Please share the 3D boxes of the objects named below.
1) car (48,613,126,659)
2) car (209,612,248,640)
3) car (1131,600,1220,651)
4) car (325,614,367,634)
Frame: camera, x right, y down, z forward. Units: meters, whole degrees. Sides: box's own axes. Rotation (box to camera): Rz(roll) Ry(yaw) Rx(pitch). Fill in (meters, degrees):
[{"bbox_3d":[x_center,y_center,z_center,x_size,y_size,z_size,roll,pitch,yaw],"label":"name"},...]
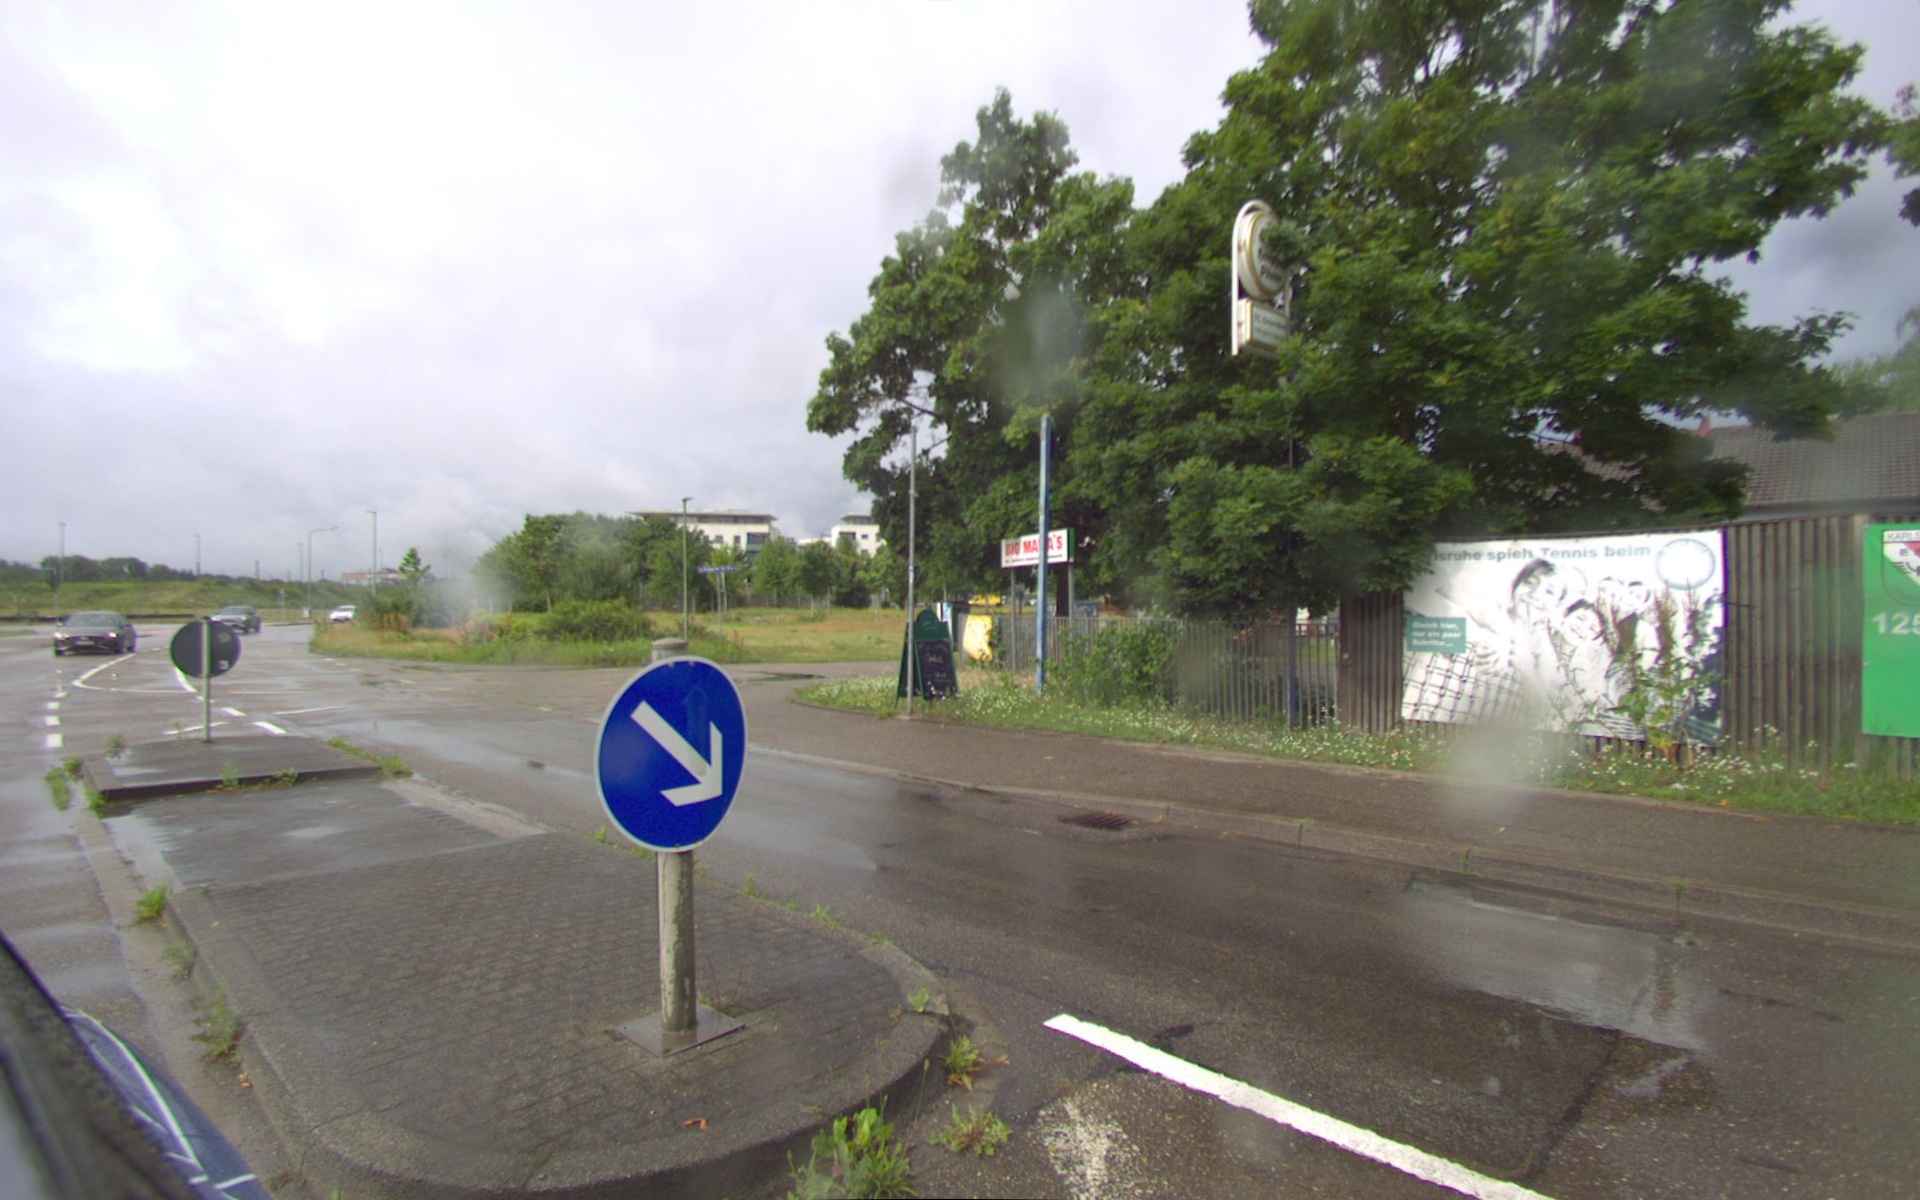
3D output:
[{"bbox_3d":[-29.874,1.205,34.736,1.697,1.442,3.827,-1,0,-36],"label":"car"},{"bbox_3d":[-45.486,1.561,62.956,1.620,1.645,3.679,-1,0,-30],"label":"car"},{"bbox_3d":[7.417,0.846,34.735,1.448,1.625,3.451,-1,0,42],"label":"car"},{"bbox_3d":[-54.334,2.113,89.632,1.770,1.645,3.825,-1,0,-8],"label":"car"}]
